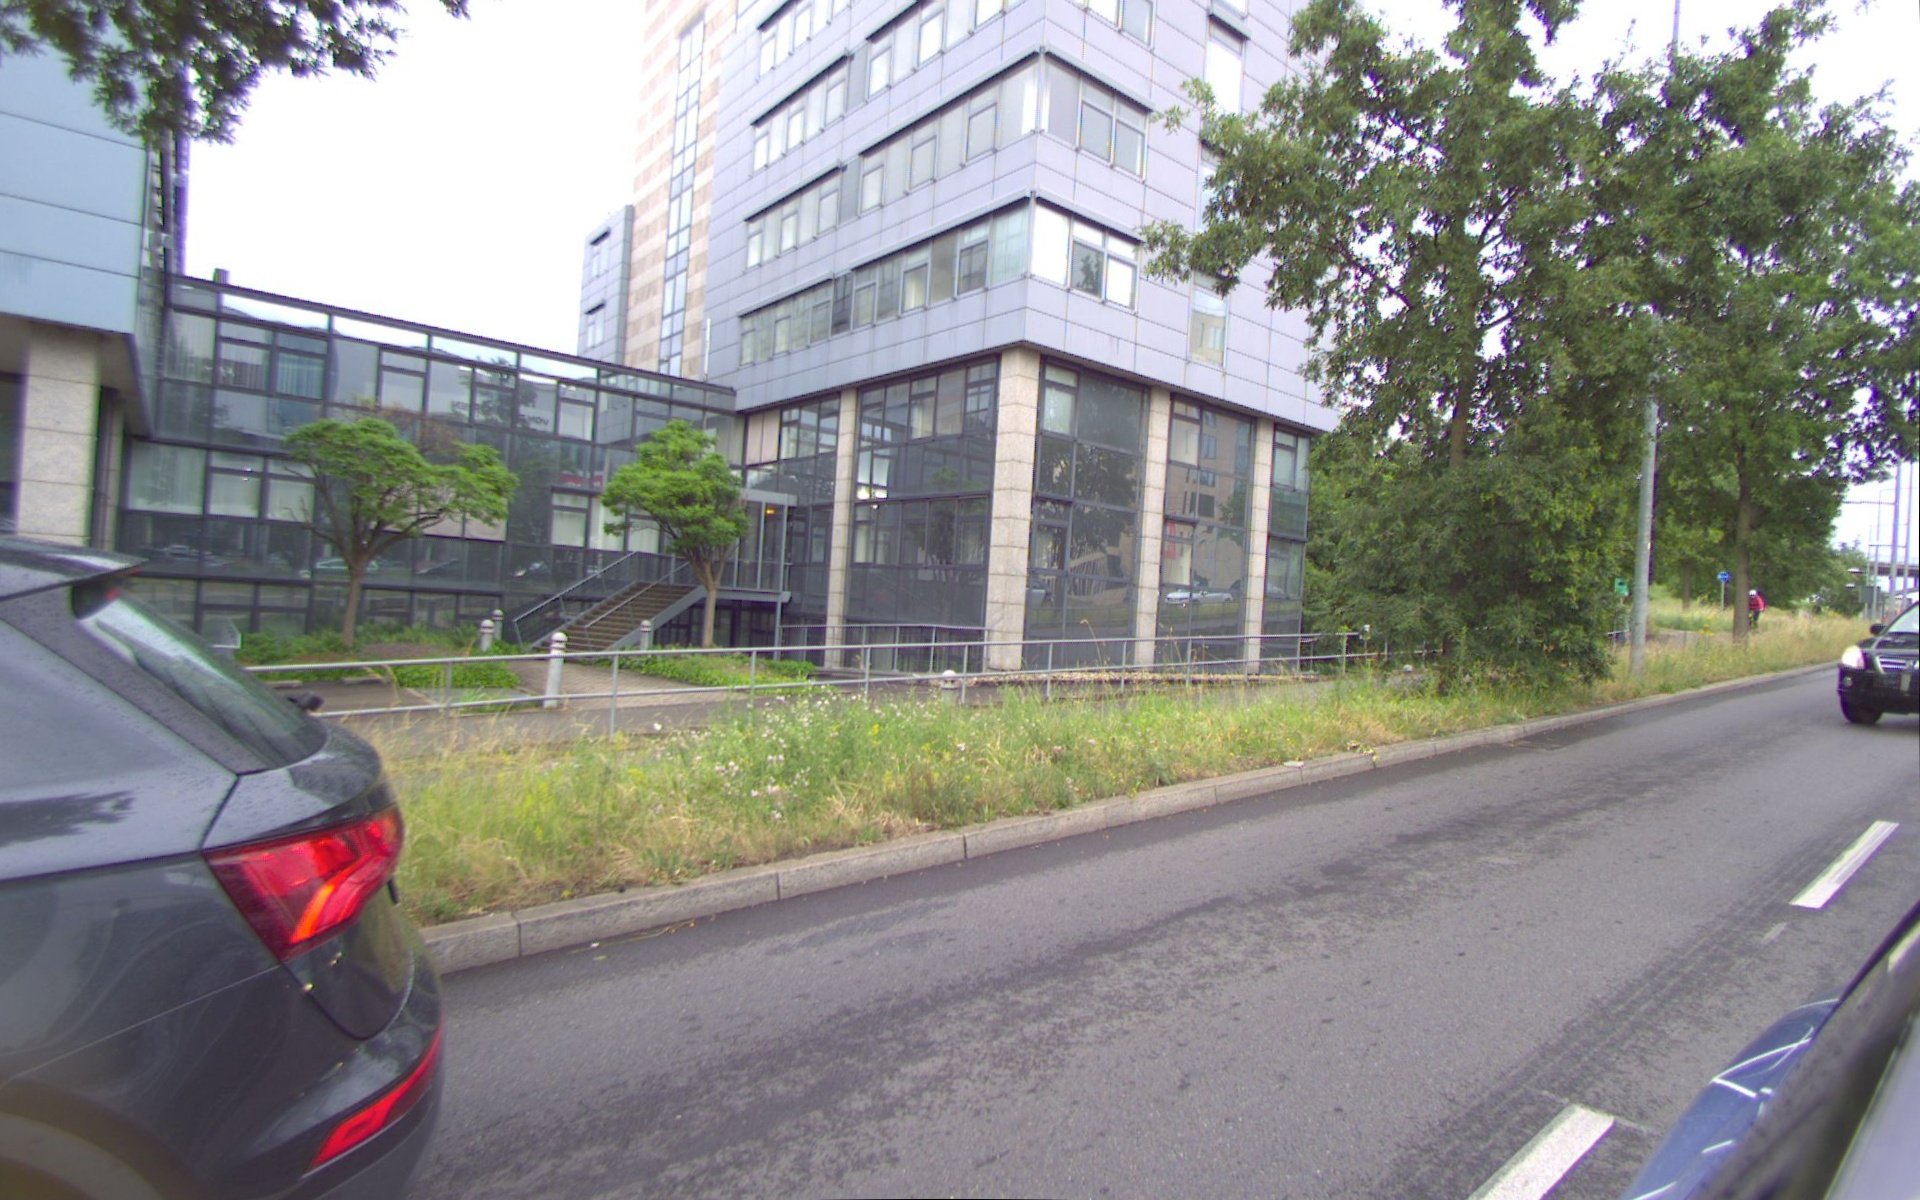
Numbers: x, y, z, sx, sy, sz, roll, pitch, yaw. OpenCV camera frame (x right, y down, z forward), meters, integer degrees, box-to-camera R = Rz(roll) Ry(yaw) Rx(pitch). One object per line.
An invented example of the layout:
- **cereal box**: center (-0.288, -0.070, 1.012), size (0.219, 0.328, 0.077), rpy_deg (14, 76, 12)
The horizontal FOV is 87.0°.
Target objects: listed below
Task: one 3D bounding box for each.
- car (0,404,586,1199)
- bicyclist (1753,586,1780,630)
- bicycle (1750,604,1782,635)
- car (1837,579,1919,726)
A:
- **car**: center (-2.907, 0.548, 1.021), size (4.392, 1.633, 1.821), rpy_deg (0, 1, -41)
- **bicyclist**: center (29.527, 0.294, 37.046), size (0.839, 1.599, 0.647), rpy_deg (1, -1, -41)
- **bicycle**: center (29.513, 0.719, 37.057), size (1.872, 1.102, 0.581), rpy_deg (1, -1, -41)
- **car**: center (12.911, 0.614, 12.424), size (4.249, 1.679, 1.763), rpy_deg (0, 1, -27)
